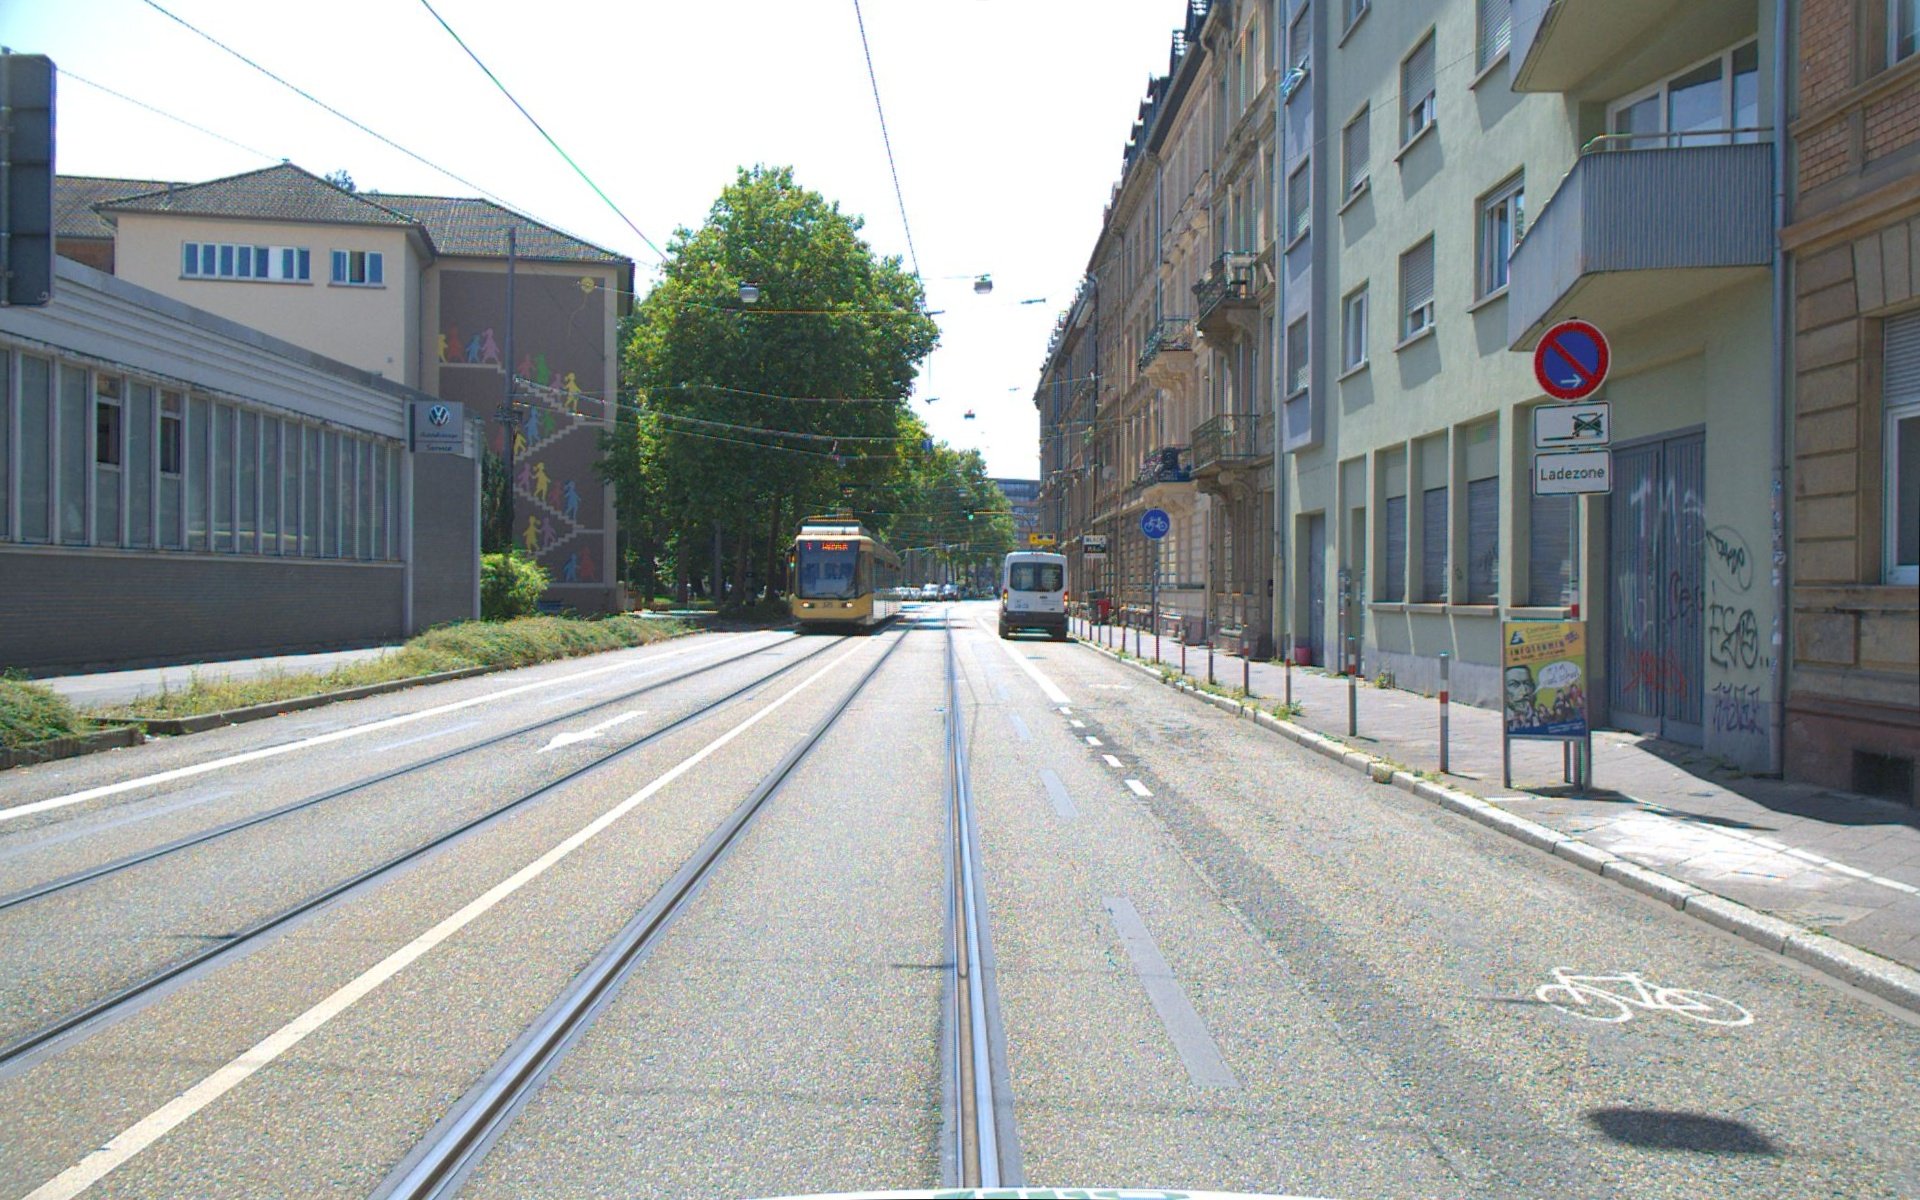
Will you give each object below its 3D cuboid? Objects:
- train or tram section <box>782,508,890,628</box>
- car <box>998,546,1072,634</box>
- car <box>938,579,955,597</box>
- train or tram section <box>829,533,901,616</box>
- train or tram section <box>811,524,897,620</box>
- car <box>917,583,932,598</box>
[{"bbox_3d":[-4.065,-1.038,56.968,2.900,3.642,13.421,0,1,-1],"label":"train or tram section"},{"bbox_3d":[2.251,-0.318,50.926,2.025,2.544,5.454,1,1,1],"label":"car"},{"bbox_3d":[-1.452,-1.285,175.769,1.640,1.892,3.998,1,0,-3],"label":"car"},{"bbox_3d":[-4.420,-1.195,79.383,2.900,3.642,13.421,0,1,-1],"label":"train or tram section"},{"bbox_3d":[-4.260,-1.123,69.140,2.900,3.642,13.421,0,1,-1],"label":"train or tram section"},{"bbox_3d":[-3.630,-0.970,169.141,1.497,1.433,3.488,1,0,-3],"label":"car"}]
